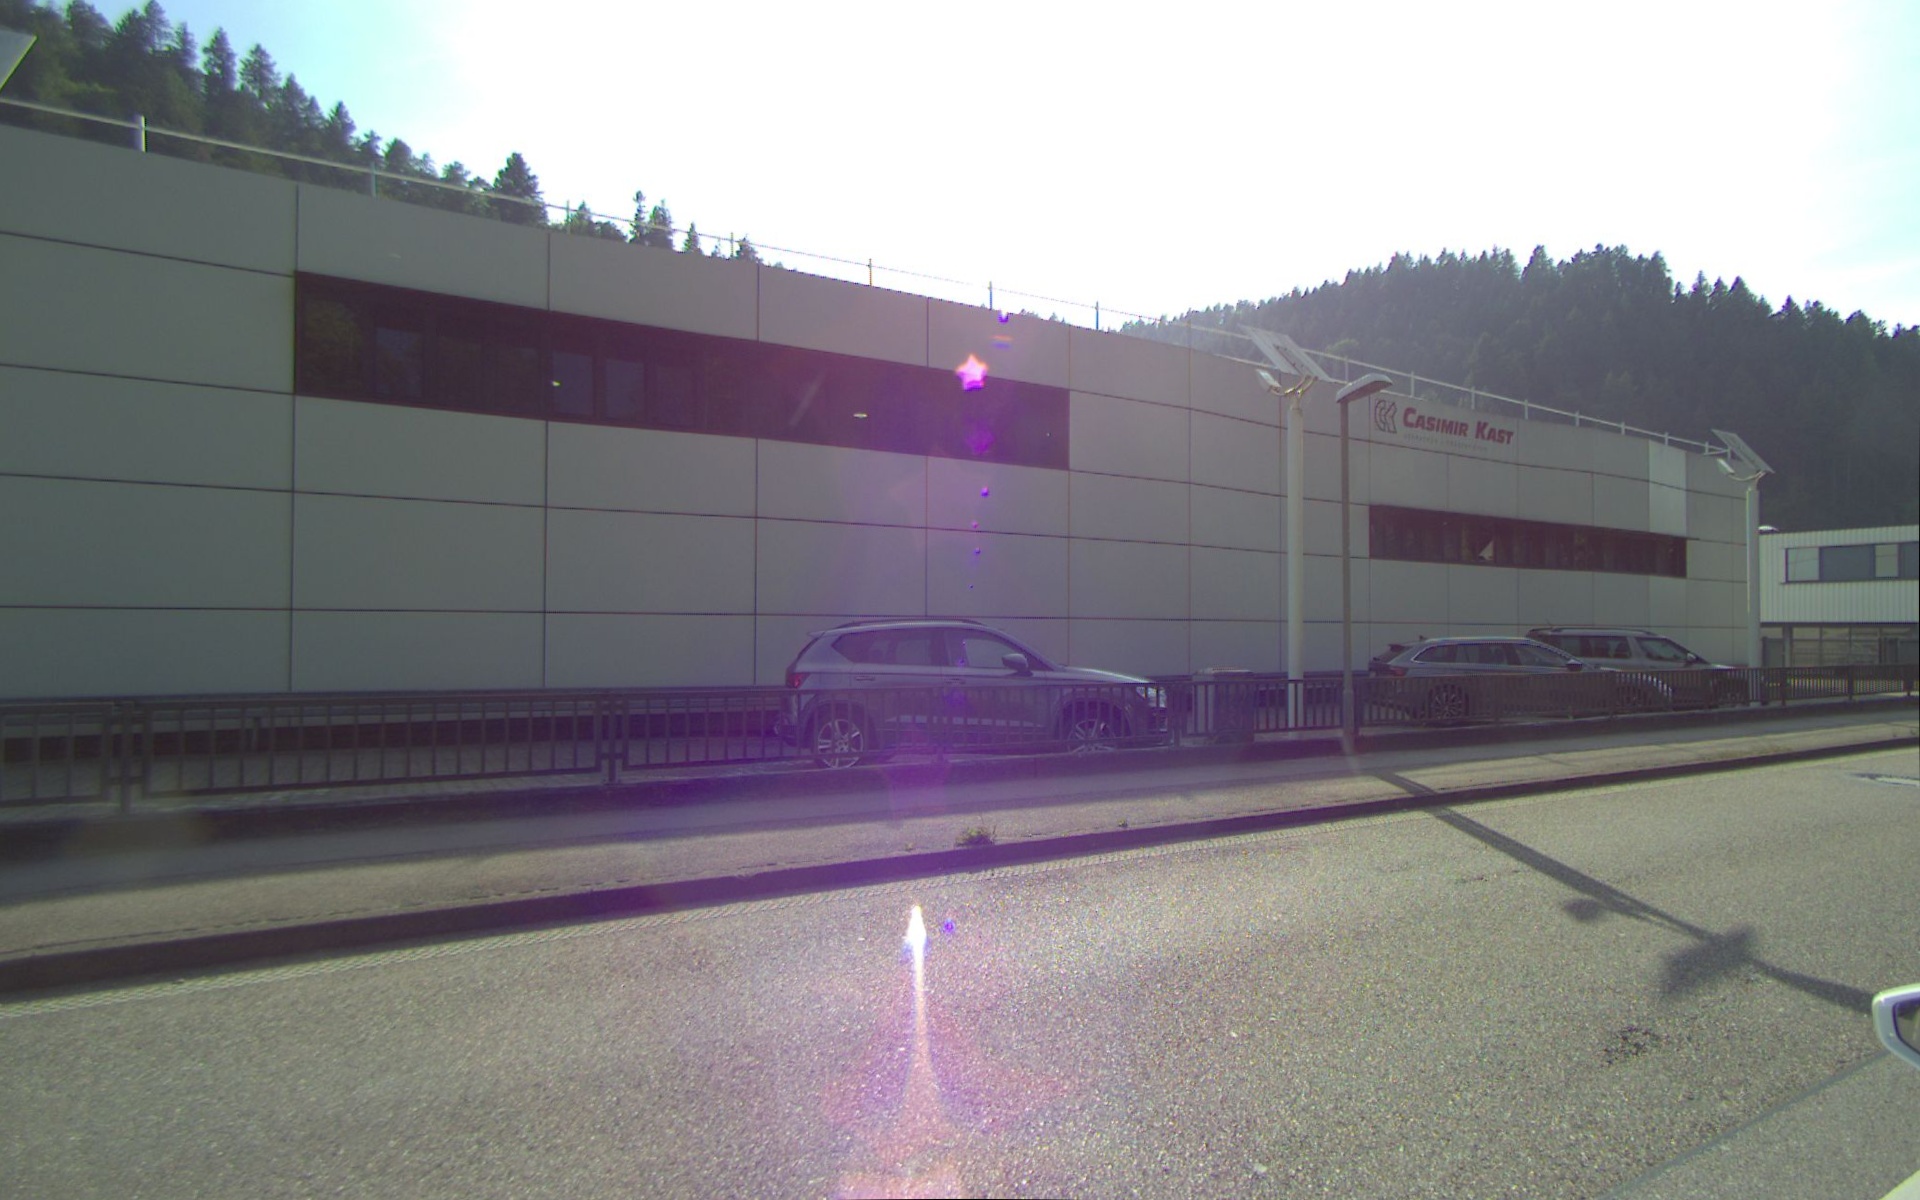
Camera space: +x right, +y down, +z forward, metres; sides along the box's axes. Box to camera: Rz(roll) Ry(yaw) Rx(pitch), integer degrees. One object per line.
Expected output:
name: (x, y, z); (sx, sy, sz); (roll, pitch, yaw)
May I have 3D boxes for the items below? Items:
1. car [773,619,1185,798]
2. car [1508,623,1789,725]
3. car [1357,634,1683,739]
car: (0.294, 1.046, 10.795); (4.090, 1.613, 1.890); (1, -1, 12)
car: (12.946, 1.340, 19.138); (4.027, 1.731, 1.783); (1, -1, 12)
car: (9.181, 1.383, 16.864); (4.397, 1.514, 1.890); (1, -1, 12)
